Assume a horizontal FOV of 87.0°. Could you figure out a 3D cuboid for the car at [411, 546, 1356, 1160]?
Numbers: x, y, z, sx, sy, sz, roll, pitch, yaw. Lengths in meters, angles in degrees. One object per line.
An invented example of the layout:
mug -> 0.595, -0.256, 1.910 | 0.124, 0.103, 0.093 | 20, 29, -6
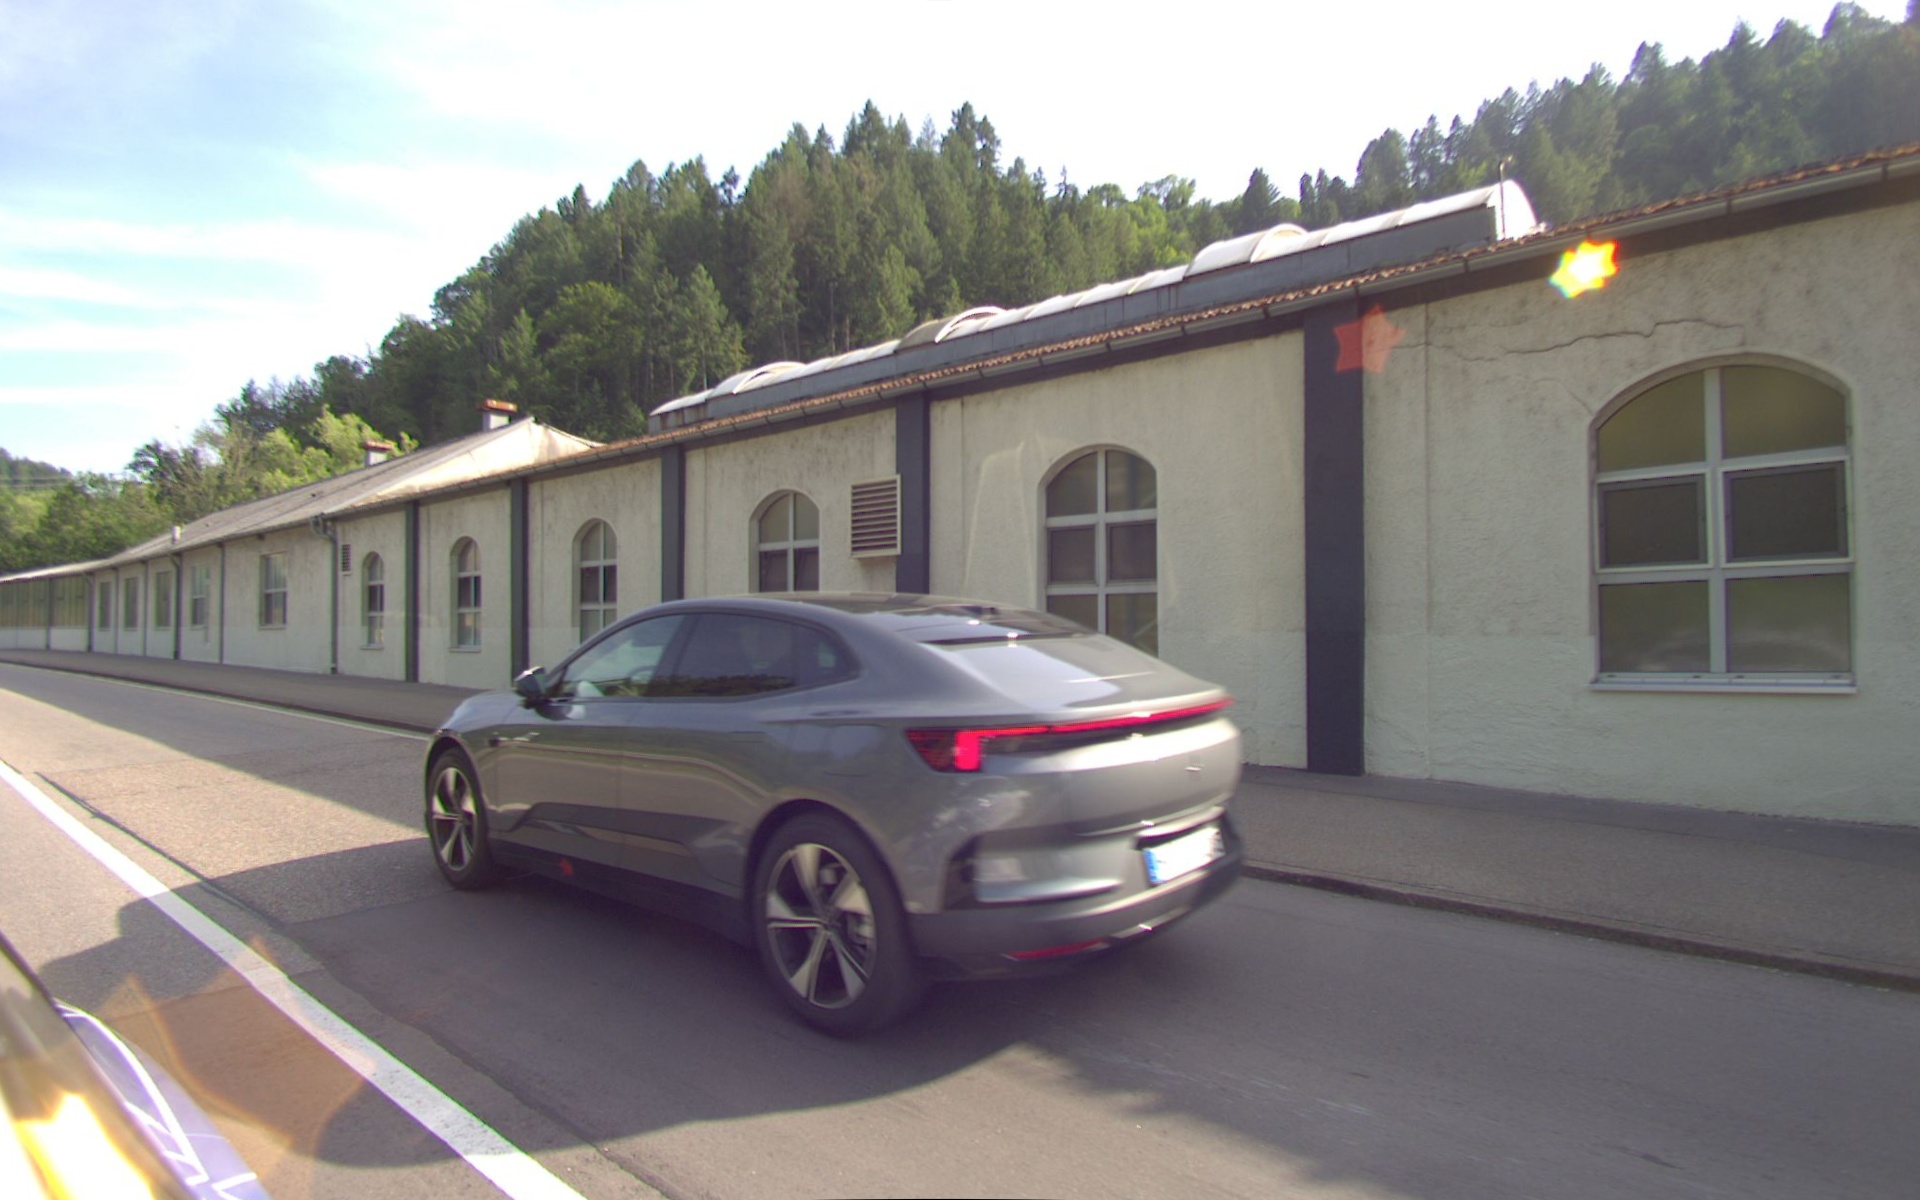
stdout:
car -> -0.715, 0.686, 4.826 | 4.456, 1.593, 1.910 | -2, 0, 41
